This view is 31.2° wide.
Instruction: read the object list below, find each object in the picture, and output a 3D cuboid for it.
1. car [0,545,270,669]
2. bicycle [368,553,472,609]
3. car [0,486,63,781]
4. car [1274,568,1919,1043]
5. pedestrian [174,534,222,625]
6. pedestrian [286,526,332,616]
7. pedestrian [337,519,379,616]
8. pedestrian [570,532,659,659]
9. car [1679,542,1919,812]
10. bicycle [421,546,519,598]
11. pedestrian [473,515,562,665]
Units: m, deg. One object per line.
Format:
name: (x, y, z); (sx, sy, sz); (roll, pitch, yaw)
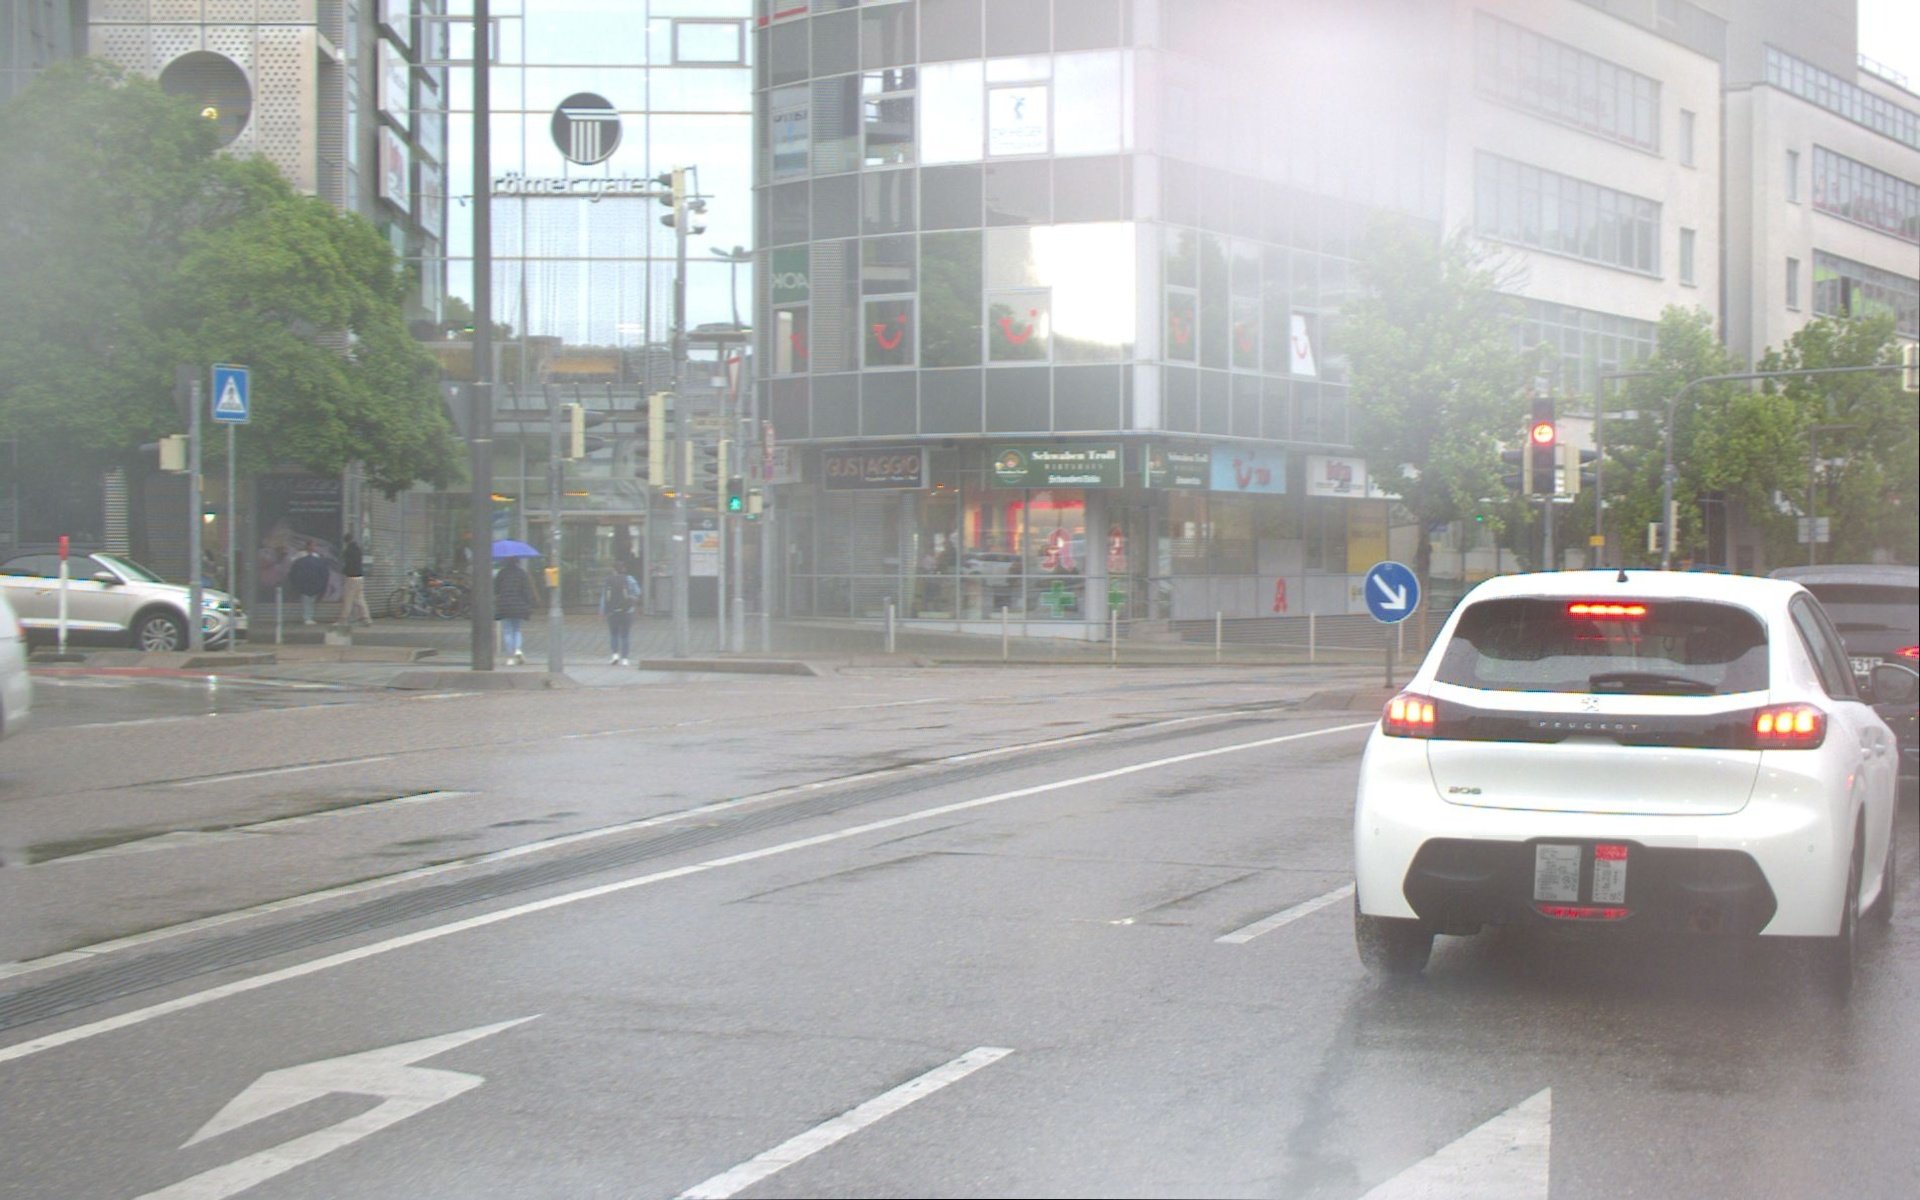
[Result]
car: (-11.670, 0.078, 46.782); (4.192, 1.590, 1.870); (1, 1, -2)
bicycle: (-12.216, -0.428, 77.792); (2.273, 1.242, 0.677); (0, 0, -3)
car: (-6.705, 0.189, 18.218); (1.887, 1.676, 4.503); (1, 1, 13)
car: (2.555, 0.632, 13.027); (1.873, 1.457, 3.869); (1, 1, 18)
pedestrian: (-15.684, -0.419, 70.749); (0.751, 1.861, 0.833); (0, 0, -29)
pedestrian: (-13.554, -0.605, 71.605); (0.831, 1.861, 0.753); (0, 0, -2)
pedestrian: (-12.586, -0.689, 71.867); (0.762, 2.007, 0.714); (1, 1, -2)
pedestrian: (-4.986, -0.072, 49.641); (0.847, 1.813, 1.022); (0, 0, 30)
car: (5.755, 0.413, 21.705); (1.817, 1.524, 3.809); (1, 1, 20)
bicycle: (-11.797, -0.679, 82.778); (2.273, 1.242, 0.677); (0, 0, -3)
pedestrian: (-6.057, -0.146, 47.023); (1.162, 2.007, 1.329); (1, 1, -8)
